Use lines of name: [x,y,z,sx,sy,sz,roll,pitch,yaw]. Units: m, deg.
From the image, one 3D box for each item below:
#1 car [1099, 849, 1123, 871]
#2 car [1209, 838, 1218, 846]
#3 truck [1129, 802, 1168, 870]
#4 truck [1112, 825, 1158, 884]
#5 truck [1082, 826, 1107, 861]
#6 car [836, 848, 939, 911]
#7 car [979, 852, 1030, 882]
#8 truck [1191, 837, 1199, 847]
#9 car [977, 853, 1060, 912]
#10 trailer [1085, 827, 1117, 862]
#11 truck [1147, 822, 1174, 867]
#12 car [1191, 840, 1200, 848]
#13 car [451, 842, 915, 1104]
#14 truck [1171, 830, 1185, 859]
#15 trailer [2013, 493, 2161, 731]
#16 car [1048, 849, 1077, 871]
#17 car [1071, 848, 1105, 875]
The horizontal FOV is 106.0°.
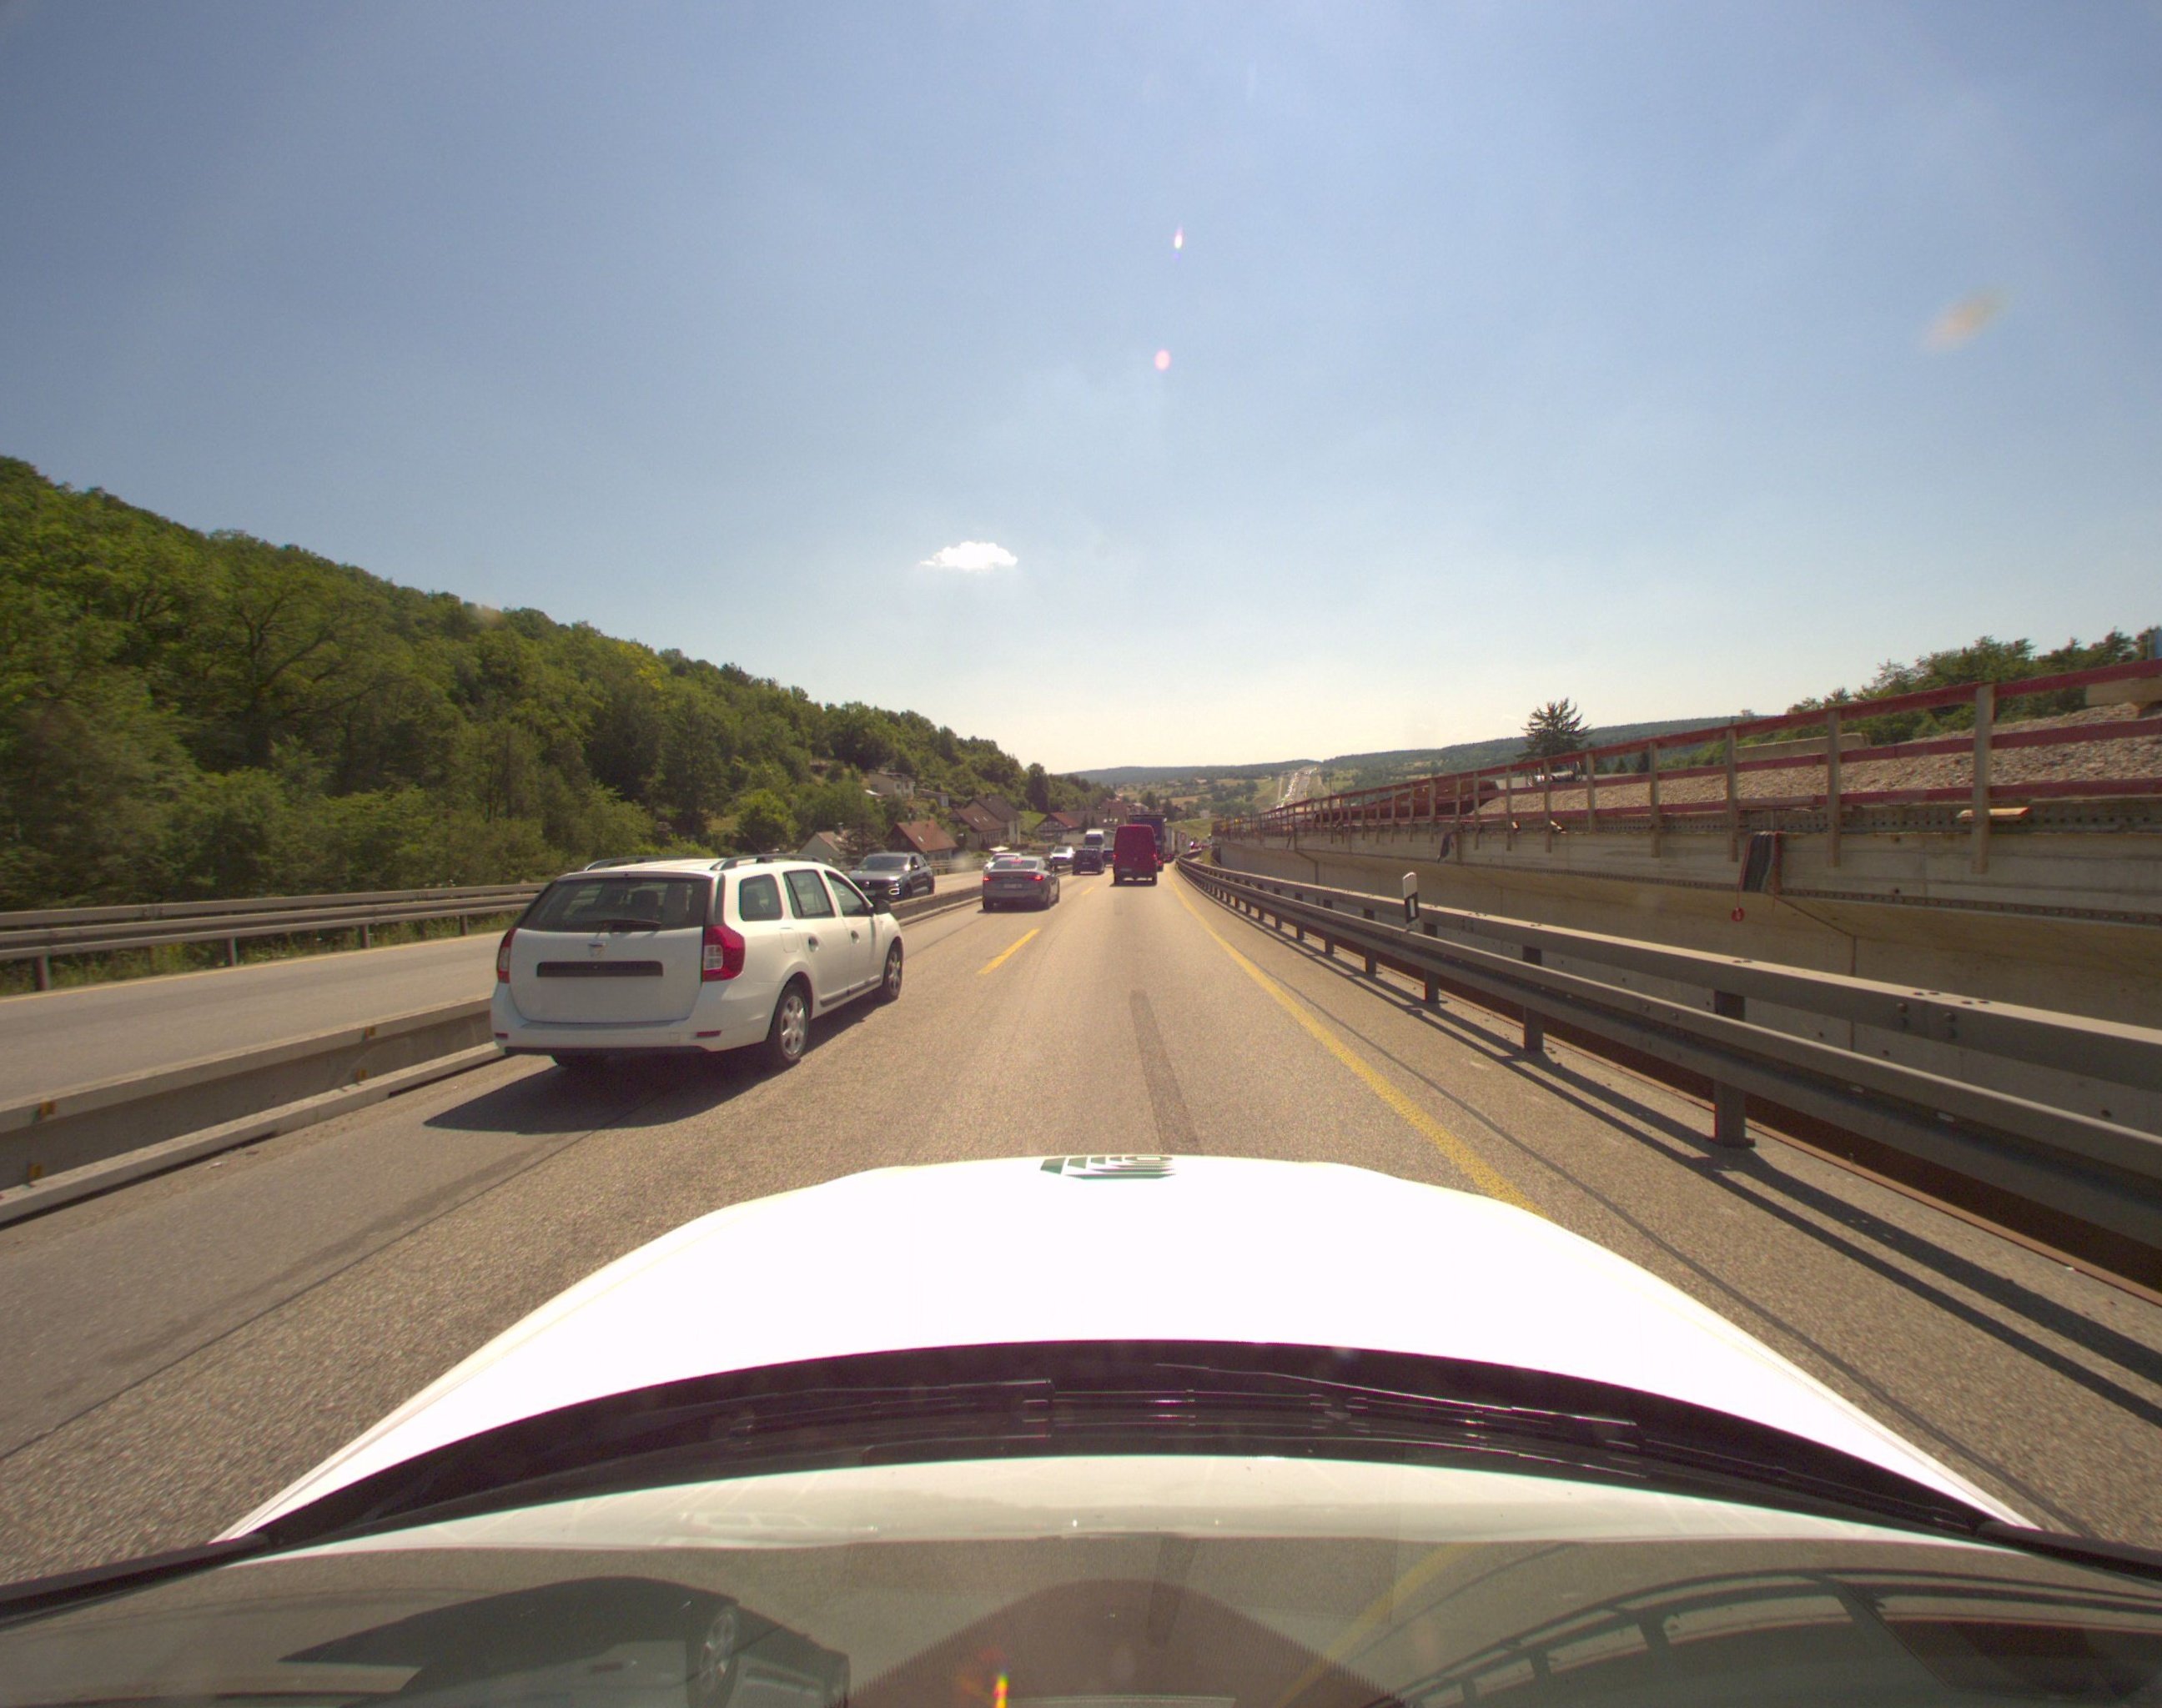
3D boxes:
car: [2.616,0.511,70.417,1.720,1.838,4.008,0,-1,7]
car: [36.392,-3.252,222.900,2.116,2.014,4.015,0,-1,14]
truck: [5.155,-1.233,62.647,2.773,4.816,9.696,0,-1,4]
truck: [2.526,0.031,37.424,1.984,2.578,4.005,0,-1,5]
truck: [1.923,-1.376,114.537,3.044,4.821,4.655,0,-1,7]
car: [-5.403,0.671,23.246,1.731,1.641,4.005,0,0,3]
car: [-3.941,0.622,42.715,1.903,1.486,4.482,0,0,4]
truck: [18.833,-1.988,134.269,1.307,1.542,3.159,0,-1,8]
car: [-1.632,0.716,22.731,1.787,1.485,4.053,-1,0,3]
trailer: [3.159,-1.280,122.516,3.047,4.815,14.035,0,-1,9]
truck: [8.908,-0.943,92.077,2.773,4.816,9.696,0,-1,4]
car: [29.377,-2.444,208.875,1.791,2.013,4.015,1,0,13]
car: [-2.798,0.721,6.947,1.645,1.483,4.269,-2,-1,3]
truck: [14.725,-1.381,123.289,1.983,4.381,4.008,0,-1,7]
trailer: [19.639,-4.338,13.166,2.686,3.693,9.051,0,2,26]
car: [-1.461,0.487,66.341,1.903,1.705,4.741,0,0,4]
car: [0.486,0.483,51.348,1.801,1.608,3.725,0,-1,6]
